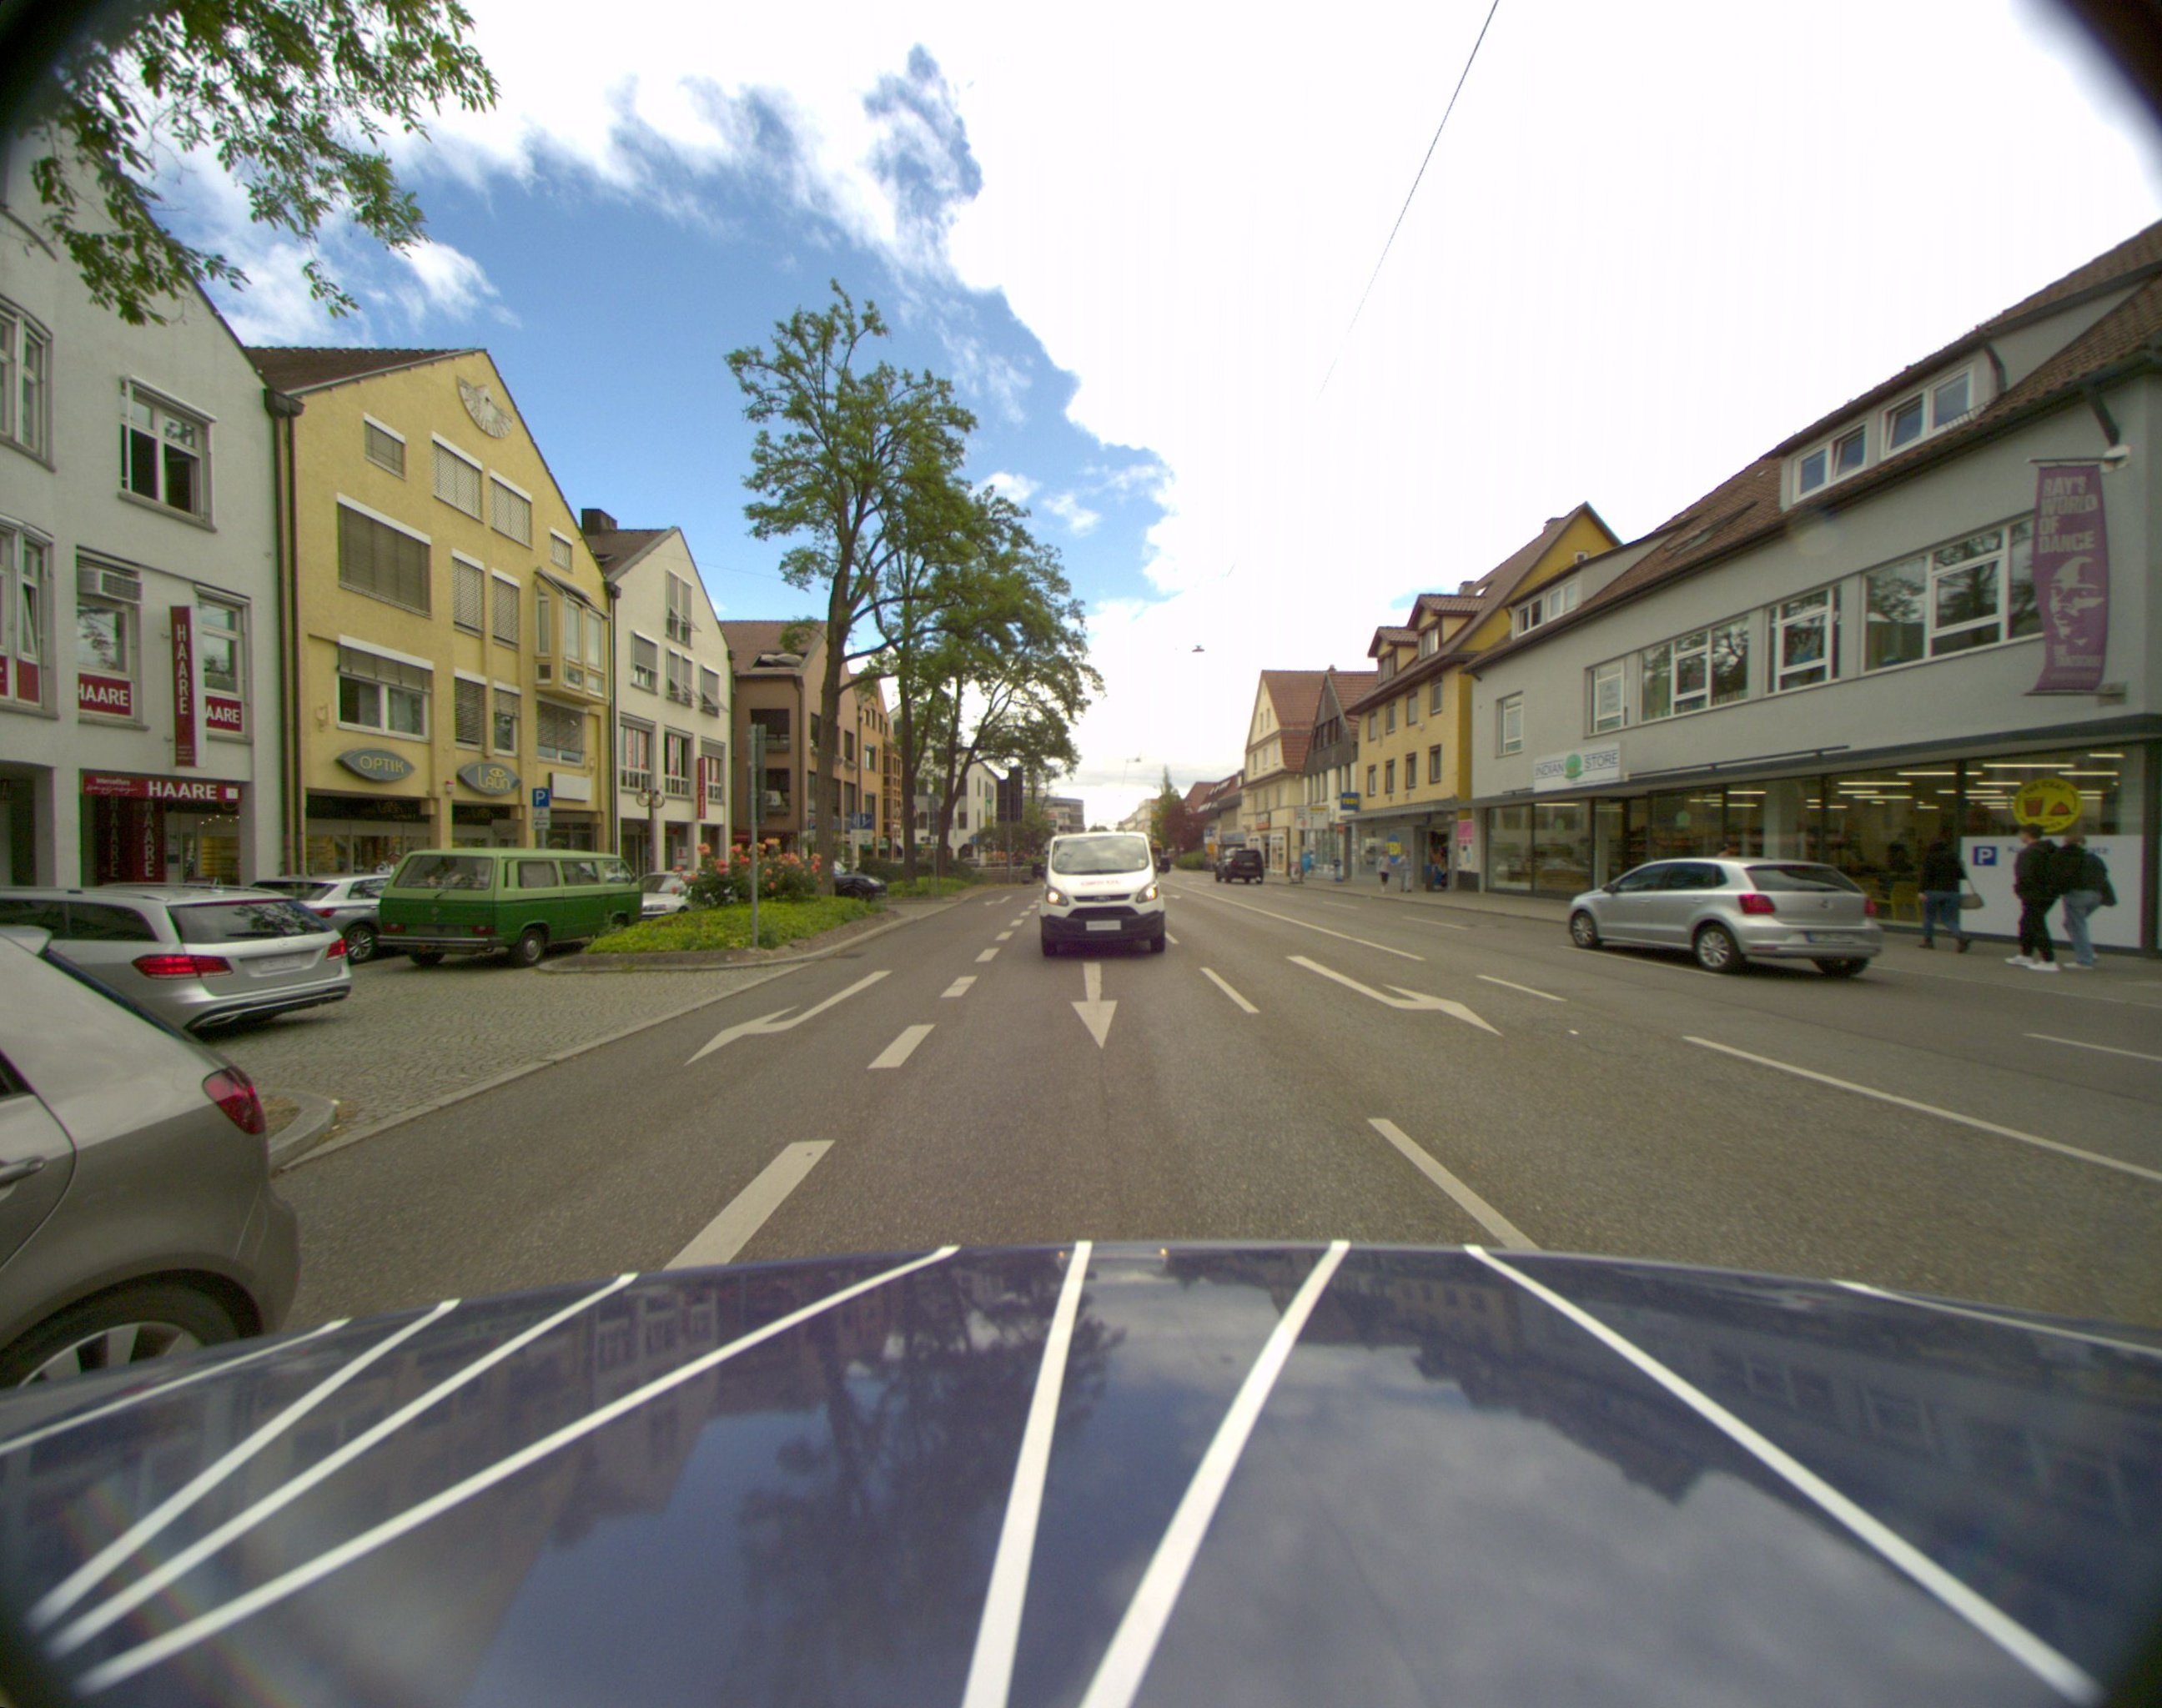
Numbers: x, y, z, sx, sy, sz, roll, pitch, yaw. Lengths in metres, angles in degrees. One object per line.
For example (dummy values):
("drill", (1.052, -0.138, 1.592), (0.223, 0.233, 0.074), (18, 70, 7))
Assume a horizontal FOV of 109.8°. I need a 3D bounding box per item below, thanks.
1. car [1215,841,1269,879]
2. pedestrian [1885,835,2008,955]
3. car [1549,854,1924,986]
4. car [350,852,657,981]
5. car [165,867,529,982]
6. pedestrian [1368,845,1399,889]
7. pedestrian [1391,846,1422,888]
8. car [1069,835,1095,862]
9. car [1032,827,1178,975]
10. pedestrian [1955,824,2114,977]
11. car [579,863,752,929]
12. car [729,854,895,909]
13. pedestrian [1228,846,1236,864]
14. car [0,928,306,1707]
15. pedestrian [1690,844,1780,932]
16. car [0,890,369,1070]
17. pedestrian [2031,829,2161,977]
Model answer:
("car", (8.838, 0.321, 42.060), (1.928, 1.957, 4.769), (1, 0, 0))
("pedestrian", (12.660, 0.582, 11.146), (0.805, 1.688, 0.870), (0, 1, 2))
("car", (8.632, 0.746, 10.592), (1.763, 1.440, 4.035), (0, 1, 1))
("car", (-9.908, 0.927, 13.683), (1.999, 1.865, 4.752), (1, 1, -2))
("car", (-12.482, 1.078, 13.522), (1.999, 1.539, 4.751), (1, 1, -3))
("pedestrian", (11.603, 0.502, 29.164), (0.812, 1.651, 0.920), (-1, 1, 1))
("pedestrian", (12.460, 0.504, 29.105), (0.812, 1.574, 0.920), (-1, 1, 1))
("car", (0.099, -0.423, 60.367), (1.940, 1.968, 5.779), (-2, 0, 1))
("car", (0.355, 0.637, 13.405), (1.940, 1.968, 5.779), (-2, 0, 1))
("pedestrian", (11.996, 0.560, 9.607), (0.708, 1.828, 1.028), (0, 1, 2))
("car", (-10.123, 0.954, 19.010), (1.843, 1.302, 4.752), (1, 1, -2))
("car", (-8.607, 0.879, 24.708), (4.754, 1.669, 1.999), (1, 0, -8))
("pedestrian", (16.030, 0.106, 80.746), (0.673, 1.891, 0.678), (0, 1, 0))
("car", (-3.095, 1.011, 0.109), (1.801, 1.521, 3.999), (-2, 0, 0))
("pedestrian", (12.718, 0.644, 14.800), (1.001, 1.657, 0.872), (-1, 1, 1))
("car", (-10.091, 1.125, 7.402), (4.650, 1.445, 1.739), (0, 1, 0))
("pedestrian", (12.804, 0.587, 9.517), (0.708, 1.771, 0.870), (0, 1, 2))
